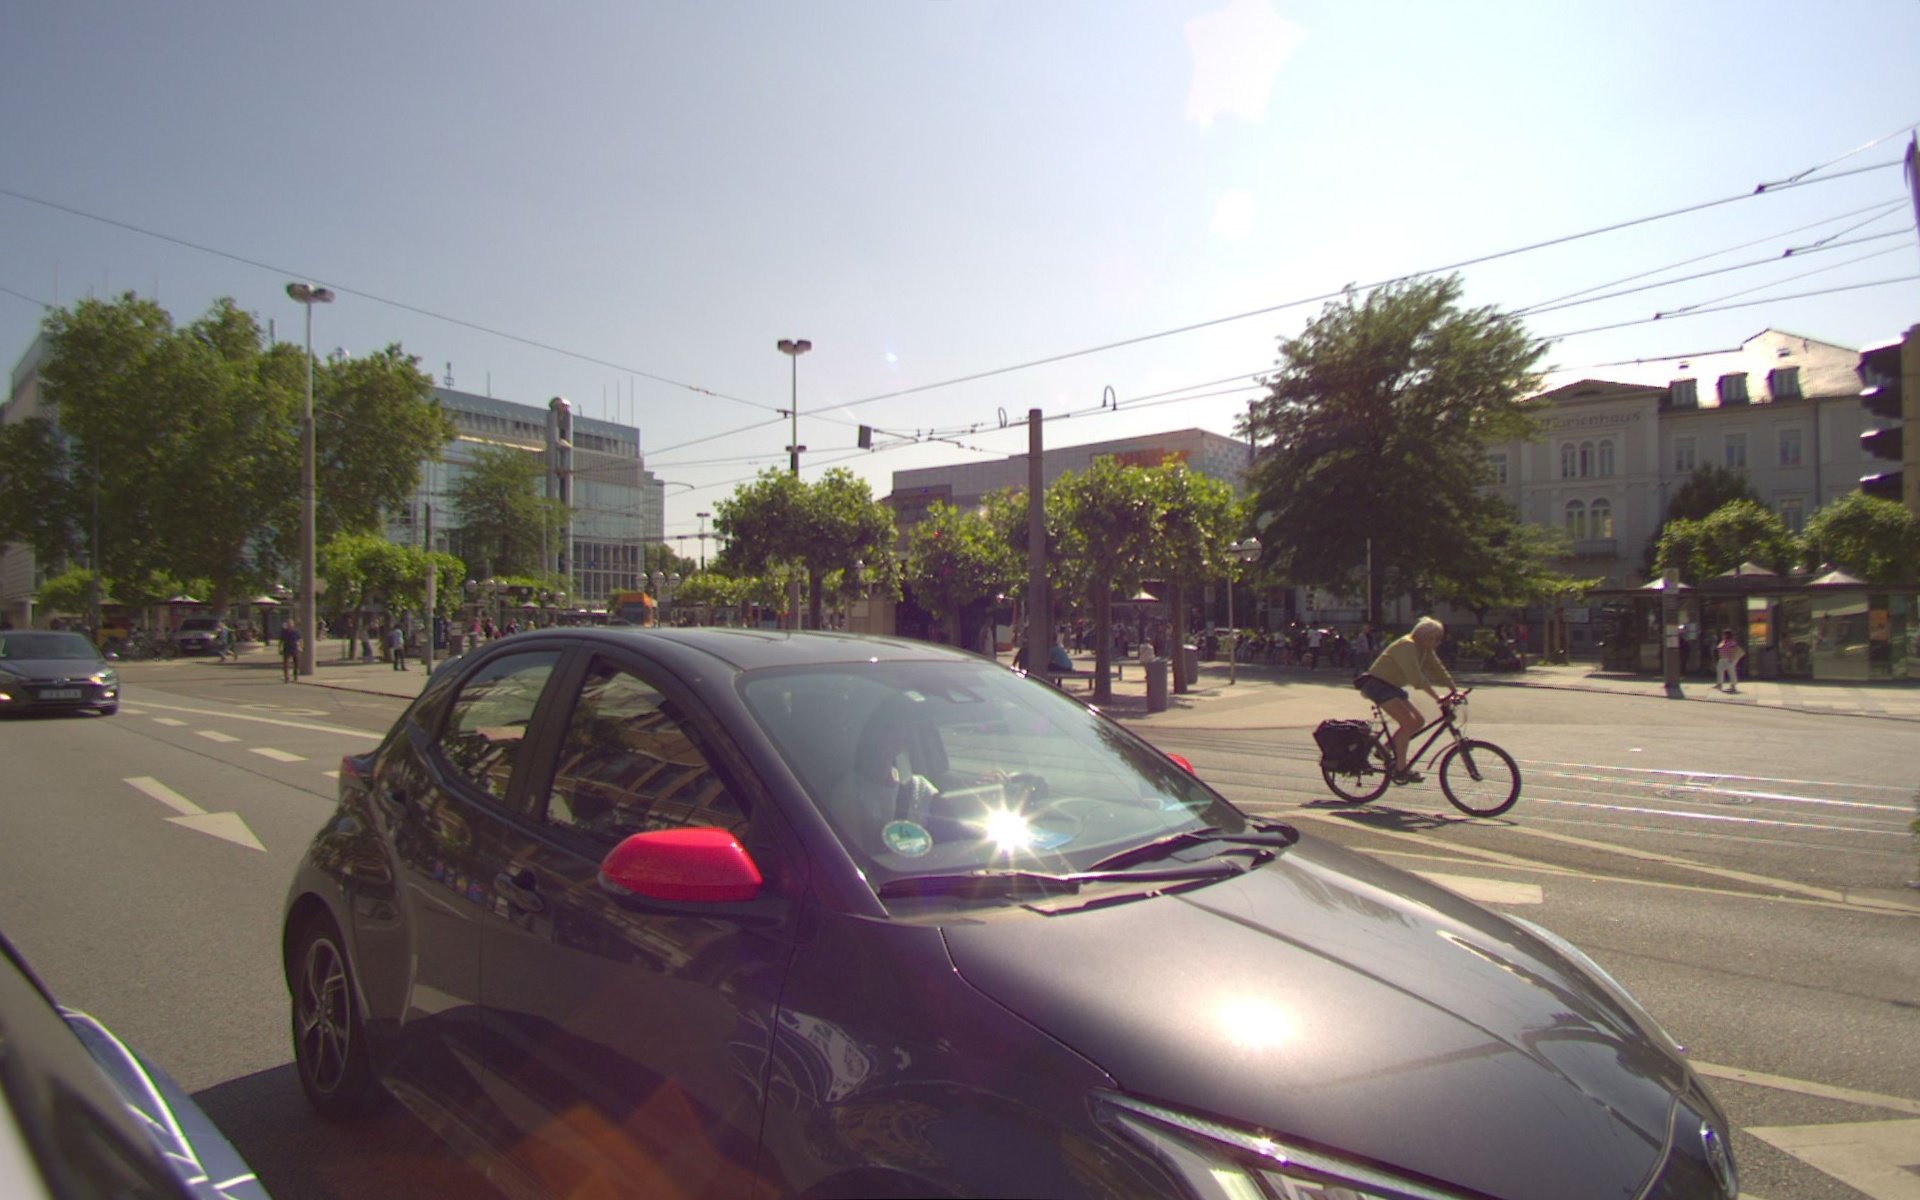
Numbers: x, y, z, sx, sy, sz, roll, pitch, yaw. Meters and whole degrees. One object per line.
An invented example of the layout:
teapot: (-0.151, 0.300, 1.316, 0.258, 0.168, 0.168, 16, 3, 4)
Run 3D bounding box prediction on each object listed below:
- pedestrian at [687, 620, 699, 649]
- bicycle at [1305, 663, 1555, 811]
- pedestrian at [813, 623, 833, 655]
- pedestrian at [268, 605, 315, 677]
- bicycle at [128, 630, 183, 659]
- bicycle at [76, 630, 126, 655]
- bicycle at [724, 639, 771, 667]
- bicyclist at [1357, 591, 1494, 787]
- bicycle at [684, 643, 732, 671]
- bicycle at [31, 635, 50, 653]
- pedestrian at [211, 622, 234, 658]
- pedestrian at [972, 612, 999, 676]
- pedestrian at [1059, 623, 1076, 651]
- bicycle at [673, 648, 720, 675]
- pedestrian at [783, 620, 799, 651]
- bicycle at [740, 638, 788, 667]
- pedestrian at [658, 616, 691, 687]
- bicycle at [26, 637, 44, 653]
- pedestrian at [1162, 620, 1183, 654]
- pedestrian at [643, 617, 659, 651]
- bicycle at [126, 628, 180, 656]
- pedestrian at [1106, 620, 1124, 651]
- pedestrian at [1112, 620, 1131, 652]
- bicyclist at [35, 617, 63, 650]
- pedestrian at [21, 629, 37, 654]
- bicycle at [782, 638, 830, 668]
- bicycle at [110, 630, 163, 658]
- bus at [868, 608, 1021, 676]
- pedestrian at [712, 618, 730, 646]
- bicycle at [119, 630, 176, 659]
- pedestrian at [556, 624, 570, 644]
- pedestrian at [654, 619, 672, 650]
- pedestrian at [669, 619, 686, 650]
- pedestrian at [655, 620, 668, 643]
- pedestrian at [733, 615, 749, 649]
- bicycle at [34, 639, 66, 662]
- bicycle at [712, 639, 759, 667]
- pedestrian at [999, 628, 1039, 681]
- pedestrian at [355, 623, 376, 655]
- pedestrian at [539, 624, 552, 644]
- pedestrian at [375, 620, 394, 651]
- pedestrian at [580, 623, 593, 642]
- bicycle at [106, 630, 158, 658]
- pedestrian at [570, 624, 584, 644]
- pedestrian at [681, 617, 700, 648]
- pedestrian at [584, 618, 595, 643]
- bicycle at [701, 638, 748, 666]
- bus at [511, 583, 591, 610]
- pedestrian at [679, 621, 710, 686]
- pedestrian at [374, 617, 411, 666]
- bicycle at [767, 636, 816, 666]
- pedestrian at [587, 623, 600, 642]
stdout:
pedestrian: (-16.246, 2.114, 61.558, 0.462, 1.731, 0.555, -1, -4, 19)
bicycle: (4.142, 1.153, 9.008, 1.873, 1.129, 0.809, -1, -4, 41)
pedestrian: (-6.281, 1.800, 46.440, 0.670, 1.477, 0.626, 4, -5, -43)
pedestrian: (-19.234, 1.183, 29.135, 0.670, 2.023, 0.895, 1, -3, -3)
bicycle: (-33.716, 1.866, 42.426, 0.482, 1.156, 1.735, -1, -1, 39)
bicycle: (-41.076, 2.038, 48.413, 0.482, 1.156, 1.735, -1, -1, 39)
bicycle: (-7.379, 1.835, 35.180, 0.544, 0.862, 1.853, -1, 0, 28)
bicyclist: (4.155, 0.781, 9.037, 0.902, 1.634, 0.809, -3, -6, 41)
bicycle: (-9.105, 2.043, 36.594, 0.580, 0.878, 1.853, -1, 0, 28)
bicycle: (-62.601, 3.008, 68.889, 0.718, 1.152, 1.917, -1, 0, -35)
pedestrian: (-30.836, 1.673, 42.302, 0.680, 1.477, 0.616, -2, -3, 41)
pedestrian: (0.664, 1.138, 25.978, 0.597, 1.622, 0.574, 0, -4, 12)
pedestrian: (5.797, 2.007, 54.519, 0.680, 1.477, 0.616, -3, -5, 44)
bicycle: (-9.609, 2.243, 36.944, 0.544, 0.862, 1.853, -1, 0, 28)
pedestrian: (-8.599, 1.831, 51.540, 0.530, 1.565, 0.592, -3, -5, 44)
bicycle: (-6.672, 1.788, 34.530, 0.579, 0.876, 1.853, -1, 0, 28)
pedestrian: (-7.098, 1.276, 25.182, 0.581, 1.747, 0.524, 0, -4, 11)
bicycle: (-68.721, 3.366, 75.201, 1.753, 1.156, 0.586, -1, -1, 34)
pedestrian: (9.640, 1.685, 45.945, 0.616, 1.477, 0.681, 4, -5, -44)
pedestrian: (-15.043, 1.658, 49.296, 0.518, 1.678, 0.469, -1, -4, 19)
bicycle: (-34.079, 1.770, 42.751, 0.482, 1.156, 1.735, -1, -1, 39)
pedestrian: (7.427, 1.720, 48.461, 0.679, 1.477, 0.617, -2, -5, 38)
pedestrian: (7.589, 1.674, 47.523, 0.679, 1.477, 0.617, -2, -5, 36)
bicyclist: (-43.805, 1.610, 48.669, 1.159, 1.509, 0.821, -1, 0, 39)
pedestrian: (-63.105, 2.810, 68.598, 0.721, 1.682, 0.641, -1, 0, -35)
bicycle: (-5.069, 1.750, 33.413, 0.579, 0.876, 1.853, -1, 0, 28)
bicycle: (-36.179, 1.924, 44.464, 0.482, 1.156, 1.735, -1, -1, 39)
bus: (-1.233, 2.231, 58.233, 3.014, 3.445, 12.498, -2, 0, -30)
pedestrian: (-13.381, 1.805, 56.657, 0.675, 1.513, 0.621, -1, -4, 19)
bicycle: (-34.726, 1.888, 43.281, 0.482, 1.156, 1.842, -1, -1, 39)
pedestrian: (-30.457, 2.616, 77.629, 0.555, 1.483, 0.747, -1, 0, 41)
pedestrian: (-14.393, 1.676, 49.033, 0.549, 1.477, 0.621, -1, -4, 19)
pedestrian: (-16.824, 2.055, 60.242, 0.675, 1.809, 0.621, -1, -4, 19)
pedestrian: (-20.800, 2.182, 70.586, 0.573, 1.561, 0.677, 0, -4, 14)
pedestrian: (-11.396, 1.679, 52.670, 0.584, 1.744, 0.557, -1, -4, 19)
bicycle: (-43.762, 2.429, 48.658, 2.625, 1.030, 0.820, -1, 0, 41)
bicycle: (-7.870, 1.863, 35.507, 0.544, 0.862, 1.853, -1, 0, 28)
pedestrian: (1.439, 1.327, 24.630, 0.751, 1.256, 0.669, -2, -5, 35)
pedestrian: (-24.081, 1.563, 41.000, 0.569, 1.243, 0.556, -3, 2, -15)
pedestrian: (-31.700, 2.628, 77.427, 0.555, 1.483, 0.747, -1, 0, 41)
pedestrian: (-27.762, 1.724, 48.795, 0.716, 1.477, 0.682, 3, -4, -28)
pedestrian: (-29.325, 2.570, 79.449, 0.555, 1.483, 0.747, -1, 0, 41)
bicycle: (-36.640, 1.934, 44.786, 0.482, 1.156, 1.735, -1, -1, 39)
pedestrian: (-29.527, 2.598, 78.004, 0.555, 1.483, 0.747, -1, 0, 41)
pedestrian: (-12.662, 1.533, 47.573, 0.617, 1.429, 0.680, 0, -4, 3)
pedestrian: (-23.307, 1.924, 63.674, 0.448, 1.561, 0.474, 0, -4, 14)
bicycle: (-8.331, 1.825, 35.901, 0.544, 0.862, 1.853, -1, 0, 28)
bus: (-45.321, -0.424, 112.641, 2.363, 2.811, 12.151, -1, 0, 9)
pedestrian: (-6.766, 1.363, 25.771, 0.518, 1.622, 0.627, 4, -5, -40)
pedestrian: (-19.966, 1.452, 35.605, 0.678, 1.671, 0.885, -1, -2, 32)
bicycle: (-5.585, 1.674, 33.688, 0.579, 0.876, 1.853, -1, 0, 28)
pedestrian: (-28.696, 2.565, 79.326, 0.555, 1.483, 0.747, -1, 0, 41)
